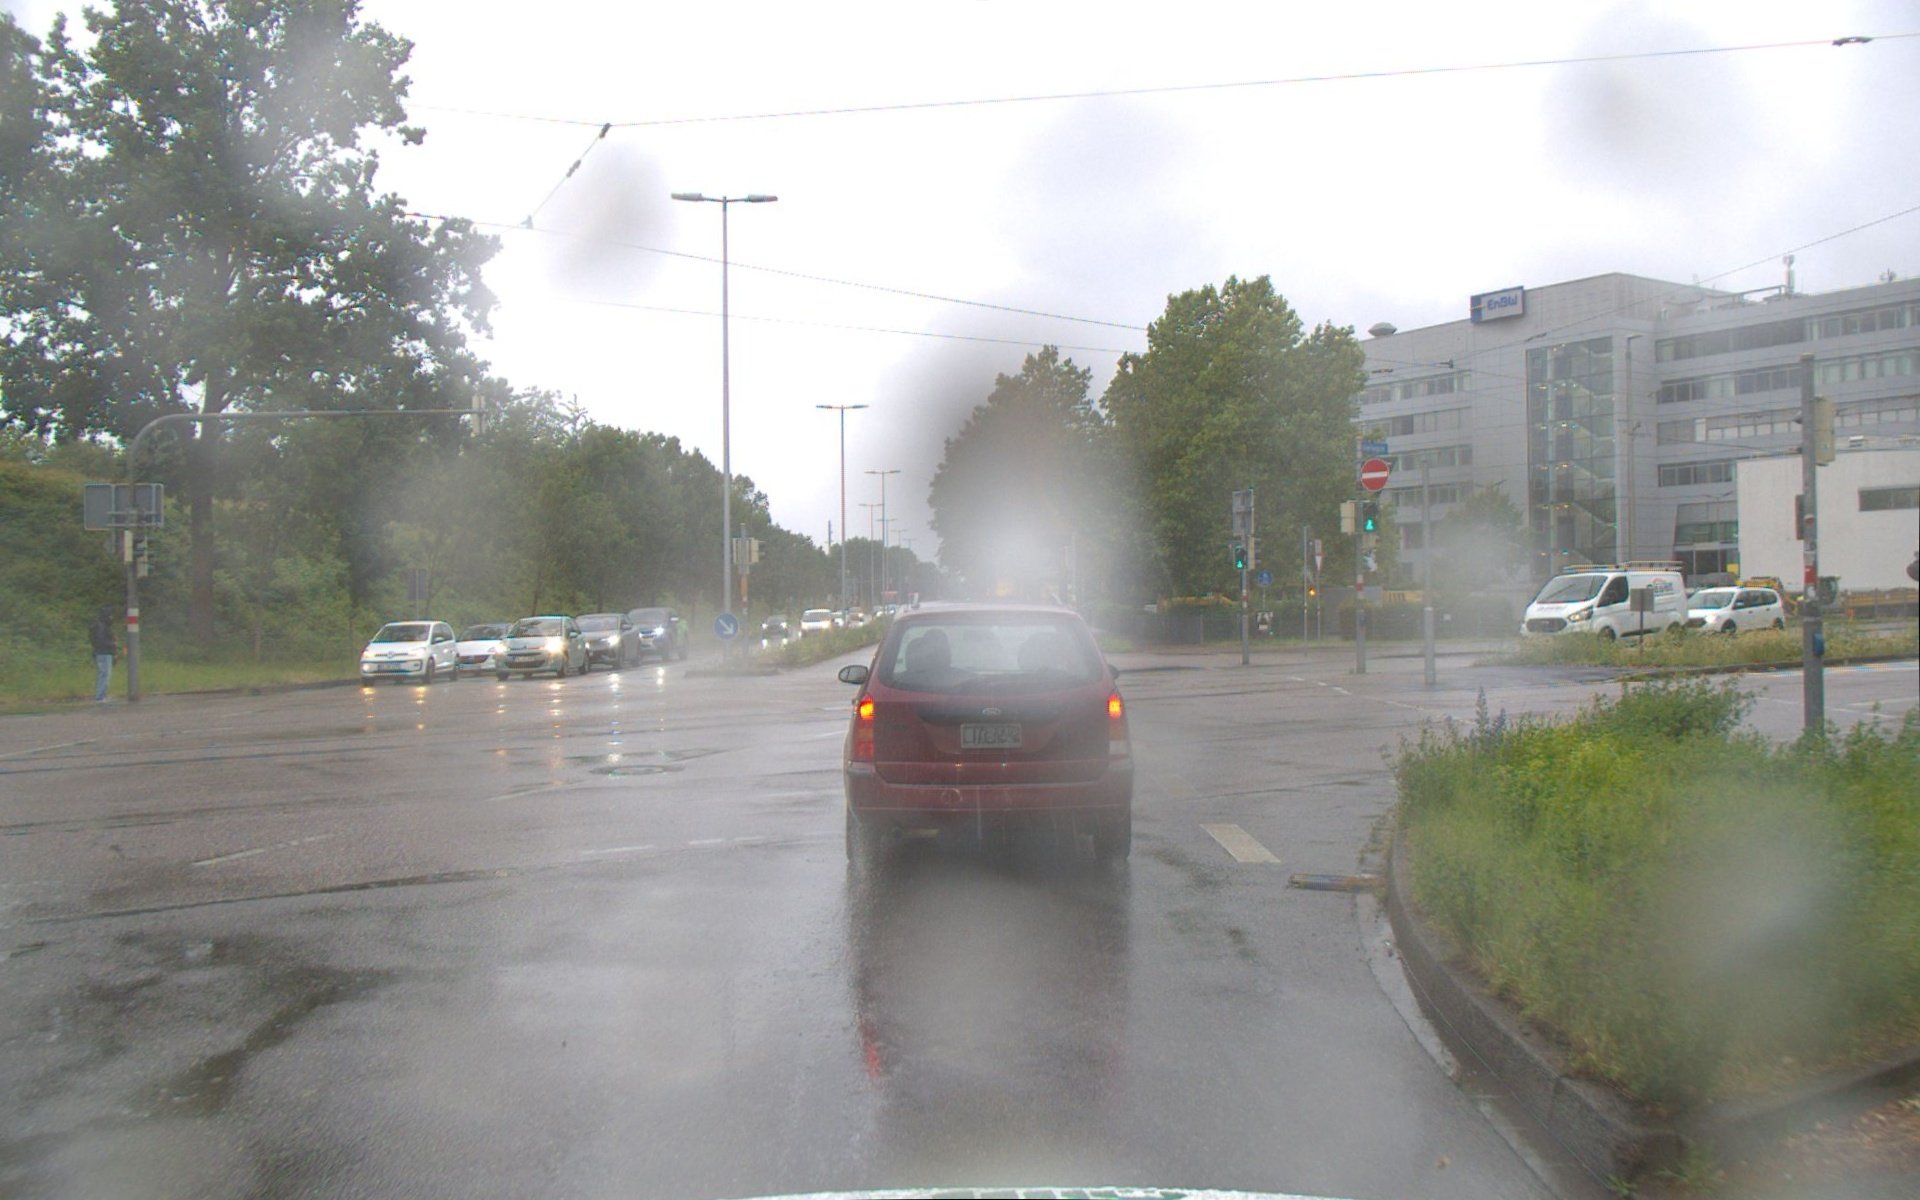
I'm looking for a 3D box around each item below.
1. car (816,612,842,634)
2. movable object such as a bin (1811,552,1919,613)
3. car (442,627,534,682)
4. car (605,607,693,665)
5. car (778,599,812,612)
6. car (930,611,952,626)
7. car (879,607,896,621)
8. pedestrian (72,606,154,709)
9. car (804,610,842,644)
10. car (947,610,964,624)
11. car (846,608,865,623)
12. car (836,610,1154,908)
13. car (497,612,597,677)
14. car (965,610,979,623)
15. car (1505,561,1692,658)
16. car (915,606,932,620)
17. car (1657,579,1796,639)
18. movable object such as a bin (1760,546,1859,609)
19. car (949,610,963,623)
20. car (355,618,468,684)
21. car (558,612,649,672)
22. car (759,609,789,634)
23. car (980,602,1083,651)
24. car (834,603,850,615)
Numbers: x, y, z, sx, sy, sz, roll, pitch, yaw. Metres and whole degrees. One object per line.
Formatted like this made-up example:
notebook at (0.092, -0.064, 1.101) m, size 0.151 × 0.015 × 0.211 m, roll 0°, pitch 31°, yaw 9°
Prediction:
car at (-10.878, 1.881, 137.531) m, size 1.923 × 1.732 × 4.283 m, roll -2°, pitch 0°, yaw -1°
movable object such as a bin at (49.859, -0.935, 88.805) m, size 3.291 × 3.048 × 6.637 m, roll -1°, pitch 0°, yaw -36°
car at (-13.352, 1.517, 46.961) m, size 1.558 × 1.428 × 3.822 m, roll -2°, pitch 0°, yaw -1°
car at (-10.595, 1.189, 56.723) m, size 2.023 × 1.851 × 5.540 m, roll -2°, pitch 0°, yaw -1°
car at (-22.817, 0.761, 228.976) m, size 4.236 × 1.625 × 1.944 m, roll -1°, pitch 0°, yaw -36°
car at (-1.943, 1.949, 173.335) m, size 2.103 × 1.554 × 4.193 m, roll -1°, pitch 0°, yaw 2°
car at (-9.155, 1.775, 209.827) m, size 1.923 × 1.625 × 4.283 m, roll -2°, pitch 0°, yaw 0°
pedestrian at (-15.953, 1.072, 31.198) m, size 1.082 × 1.879 × 1.127 m, roll -1°, pitch -1°, yaw -12°
car at (-7.508, 1.469, 90.745) m, size 1.708 × 1.732 × 4.283 m, roll -3°, pitch 0°, yaw -1°
car at (-0.494, 1.840, 179.540) m, size 1.663 × 1.554 × 3.846 m, roll -1°, pitch 0°, yaw 1°
car at (-12.240, 1.786, 193.504) m, size 1.923 × 1.625 × 4.283 m, roll -2°, pitch 0°, yaw -1°
car at (0.154, 0.828, 10.362) m, size 1.609 × 1.490 × 3.731 m, roll 1°, pitch 0°, yaw -1°
car at (-10.334, 1.085, 41.627) m, size 1.605 × 1.499 × 3.963 m, roll -2°, pitch 0°, yaw -2°
car at (1.562, 2.100, 211.807) m, size 1.636 × 1.554 × 3.846 m, roll -1°, pitch 0°, yaw 1°
car at (15.162, 0.219, 39.183) m, size 4.639 × 2.162 × 1.973 m, roll -1°, pitch -1°, yaw -37°
car at (-4.145, 1.491, 188.020) m, size 1.663 × 1.554 × 3.846 m, roll -1°, pitch 0°, yaw 2°
car at (22.728, 0.258, 48.999) m, size 4.330 × 1.649 × 1.755 m, roll -1°, pitch -1°, yaw -35°
movable object such as a bin at (43.094, -1.142, 83.917) m, size 3.292 × 3.048 × 3.289 m, roll -1°, pitch -1°, yaw -36°
car at (-0.518, 2.135, 215.929) m, size 1.636 × 1.554 × 3.847 m, roll -1°, pitch 0°, yaw 3°
car at (-13.384, 1.212, 40.553) m, size 1.605 × 1.478 × 3.786 m, roll -2°, pitch 0°, yaw -2°
car at (-10.413, 1.216, 48.600) m, size 1.727 × 1.614 × 4.811 m, roll -2°, pitch -1°, yaw -2°
car at (-13.279, 1.522, 118.089) m, size 1.708 × 1.732 × 4.283 m, roll 1°, pitch 0°, yaw -1°
car at (2.651, 0.973, 62.411) m, size 1.721 × 1.756 × 4.192 m, roll 1°, pitch 0°, yaw -34°
car at (-16.523, 1.248, 231.265) m, size 1.923 × 1.625 × 4.283 m, roll -2°, pitch 0°, yaw -1°
